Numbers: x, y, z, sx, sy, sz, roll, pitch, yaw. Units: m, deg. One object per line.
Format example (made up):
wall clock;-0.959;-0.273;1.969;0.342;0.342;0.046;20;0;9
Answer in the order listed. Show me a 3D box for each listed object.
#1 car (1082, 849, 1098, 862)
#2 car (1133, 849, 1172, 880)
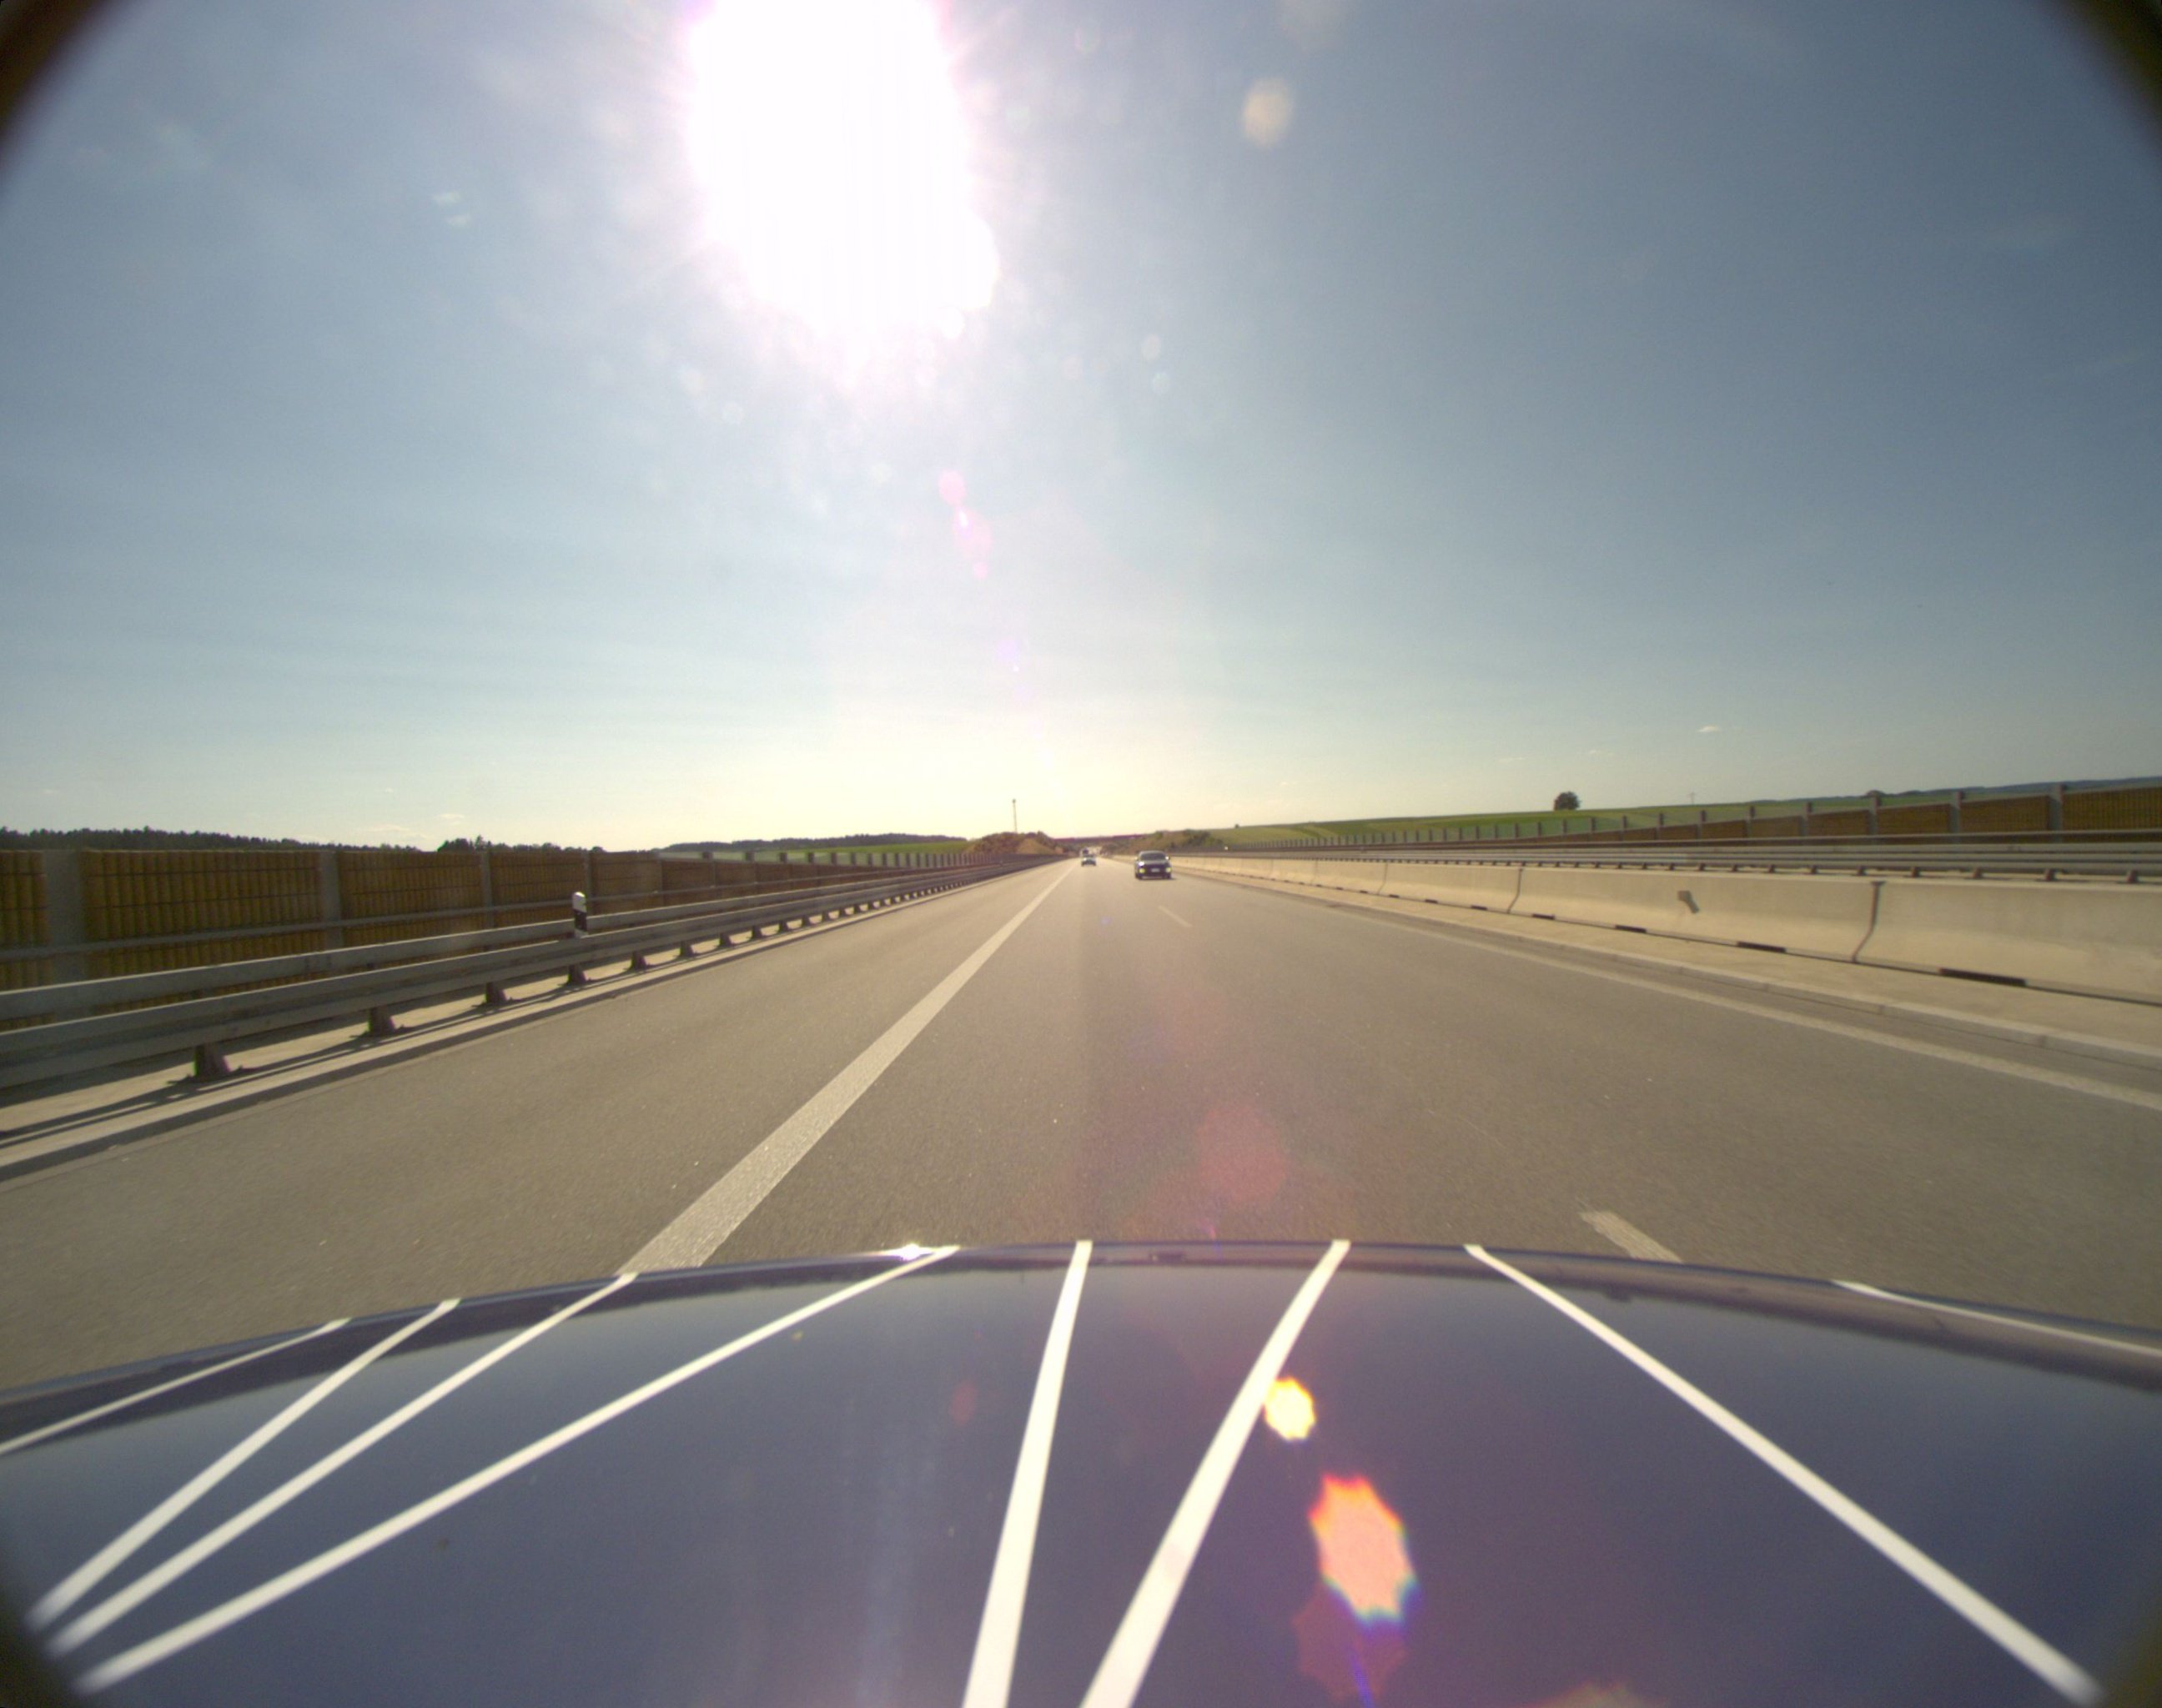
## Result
car;1.141;0.165;96.795;1.909;1.449;4.375;-2;1;2
car;3.982;0.533;43.129;1.776;1.560;4.988;-2;1;1
